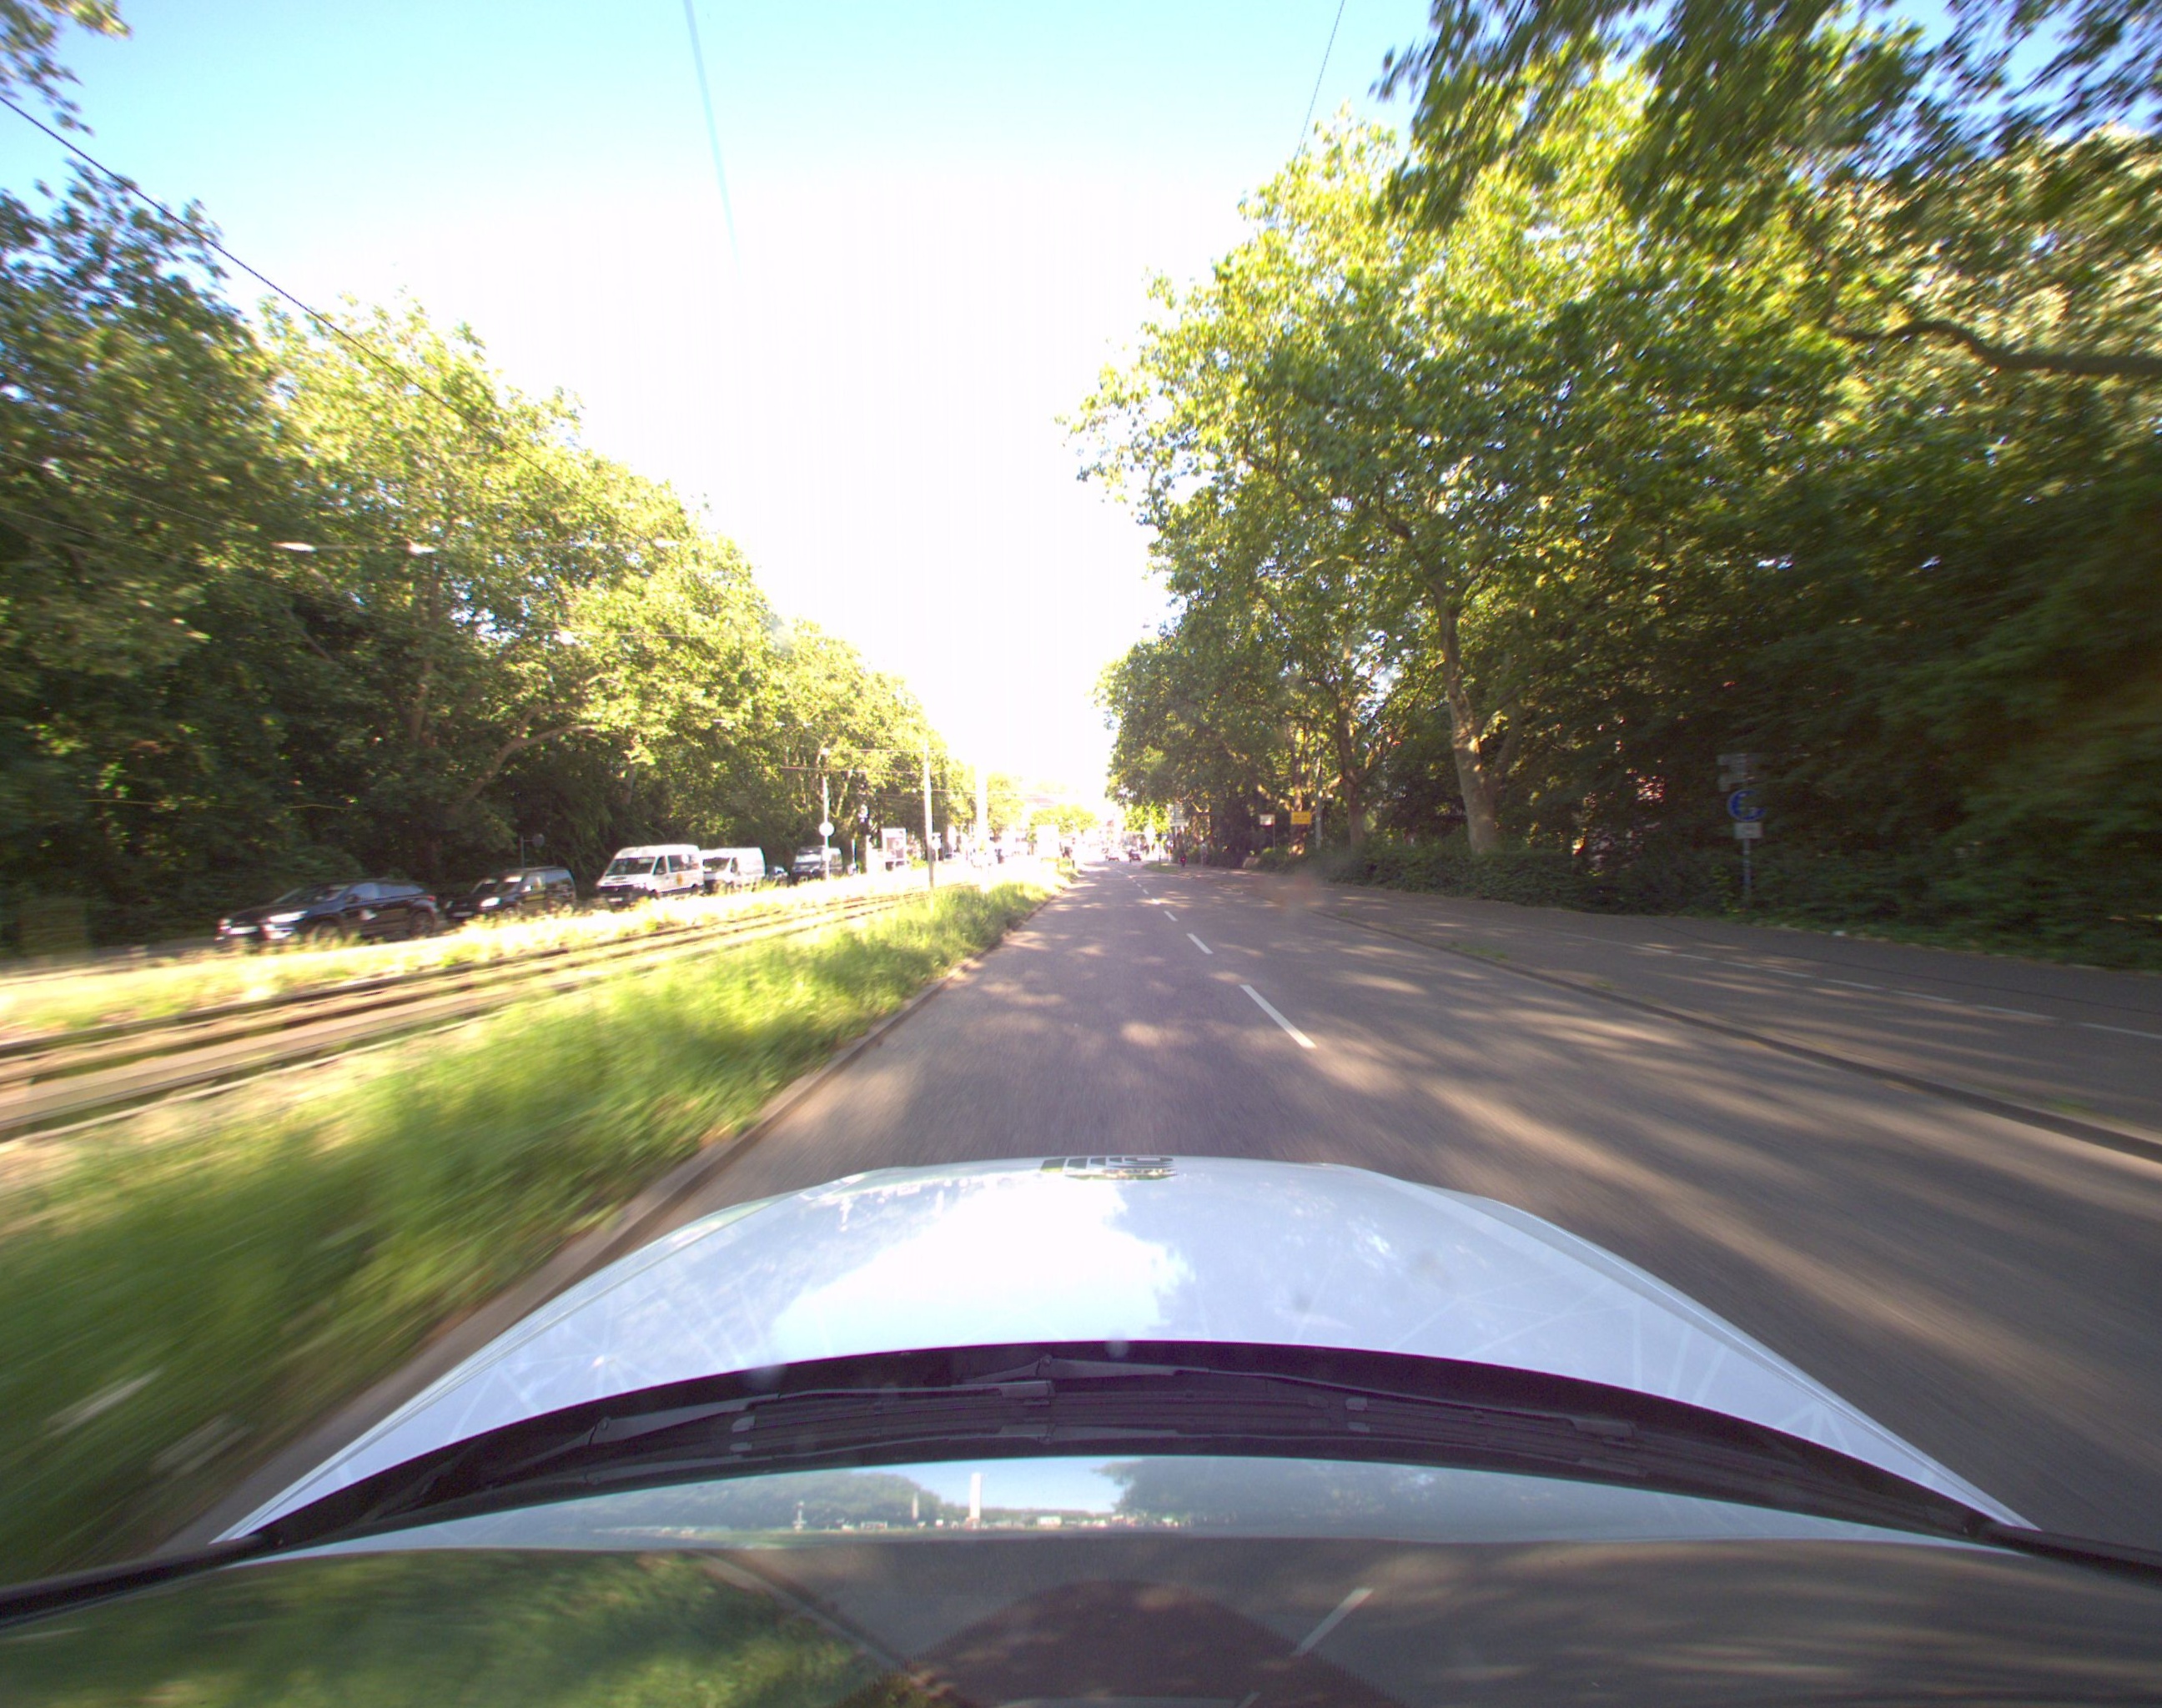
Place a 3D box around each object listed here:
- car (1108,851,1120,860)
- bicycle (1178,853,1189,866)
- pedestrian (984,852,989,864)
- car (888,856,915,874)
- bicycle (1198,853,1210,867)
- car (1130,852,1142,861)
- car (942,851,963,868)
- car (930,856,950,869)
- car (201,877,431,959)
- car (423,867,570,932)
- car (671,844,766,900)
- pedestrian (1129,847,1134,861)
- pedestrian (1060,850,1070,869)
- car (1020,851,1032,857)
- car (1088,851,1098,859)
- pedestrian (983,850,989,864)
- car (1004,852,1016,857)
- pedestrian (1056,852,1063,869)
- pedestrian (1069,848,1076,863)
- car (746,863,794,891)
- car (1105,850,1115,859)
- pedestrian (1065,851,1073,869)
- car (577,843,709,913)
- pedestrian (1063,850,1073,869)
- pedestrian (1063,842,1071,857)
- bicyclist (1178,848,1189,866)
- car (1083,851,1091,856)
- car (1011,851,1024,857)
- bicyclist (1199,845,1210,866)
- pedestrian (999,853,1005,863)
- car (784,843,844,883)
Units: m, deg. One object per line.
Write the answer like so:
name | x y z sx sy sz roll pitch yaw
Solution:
car | 5.722 0.215 142.815 1.923 1.472 4.854 -1 0 0
bicycle | 8.788 0.478 69.827 0.763 1.107 1.800 -1 0 0
pedestrian | -11.467 0.486 98.675 0.591 1.544 0.627 0 -1 1
car | -17.569 1.041 79.943 1.898 1.652 3.968 -3 0 -3
bicycle | 10.318 0.485 68.227 0.697 1.107 1.929 -1 0 -1
car | 9.259 0.397 137.863 1.794 1.439 4.045 0 0 0
car | -17.191 0.775 109.016 2.061 2.124 5.087 -3 0 -1
car | -17.313 1.026 100.288 1.789 1.510 4.339 -3 0 -1
car | -17.725 1.400 19.164 1.734 1.555 3.879 -3 0 -2
car | -17.961 1.328 25.275 1.734 1.728 3.879 -3 0 -2
car | -18.268 0.874 41.479 2.178 2.520 6.265 -3 0 -3
pedestrian | 6.909 -0.023 110.805 0.655 1.871 0.677 -1 0 0
pedestrian | -1.362 0.472 68.330 0.515 1.568 0.511 -4 0 30
car | -15.544 -0.015 229.891 1.905 1.649 4.202 -1 0 21
car | 2.291 0.160 152.080 1.802 1.452 3.999 -1 0 0
pedestrian | -11.555 0.378 99.412 0.645 1.772 0.650 0 -1 3
car | -20.331 0.137 232.595 1.779 1.510 4.030 -1 0 19
pedestrian | -1.830 0.567 70.050 0.518 1.472 0.514 -3 0 1
pedestrian | -0.965 0.193 92.314 0.740 1.694 0.791 0 0 1
car | -18.453 1.332 48.394 1.648 1.512 3.262 -3 0 -3
car | 5.322 0.031 150.263 1.794 1.638 4.044 -1 0 0
pedestrian | -0.990 0.506 69.392 0.587 1.519 0.514 -3 0 1
car | -17.861 0.923 33.659 2.177 2.520 6.046 -3 0 -2
pedestrian | -1.079 0.474 68.737 0.515 1.568 0.511 -4 0 30
pedestrian | -1.628 -0.518 96.570 0.656 1.722 0.703 0 0 -35
bicyclist | 8.785 0.244 69.829 0.764 1.513 0.650 -1 0 -1
car | 1.882 -0.134 244.811 1.784 1.510 4.008 -2 0 7
car | -17.987 0.047 230.588 1.777 1.649 4.035 -1 0 29
bicyclist | 10.311 0.085 68.230 0.697 1.728 1.079 -1 0 -1
pedestrian | -11.160 0.542 115.241 0.668 1.324 0.756 -4 0 -2
car | -18.397 0.618 56.510 2.177 2.520 6.029 -3 0 -1
